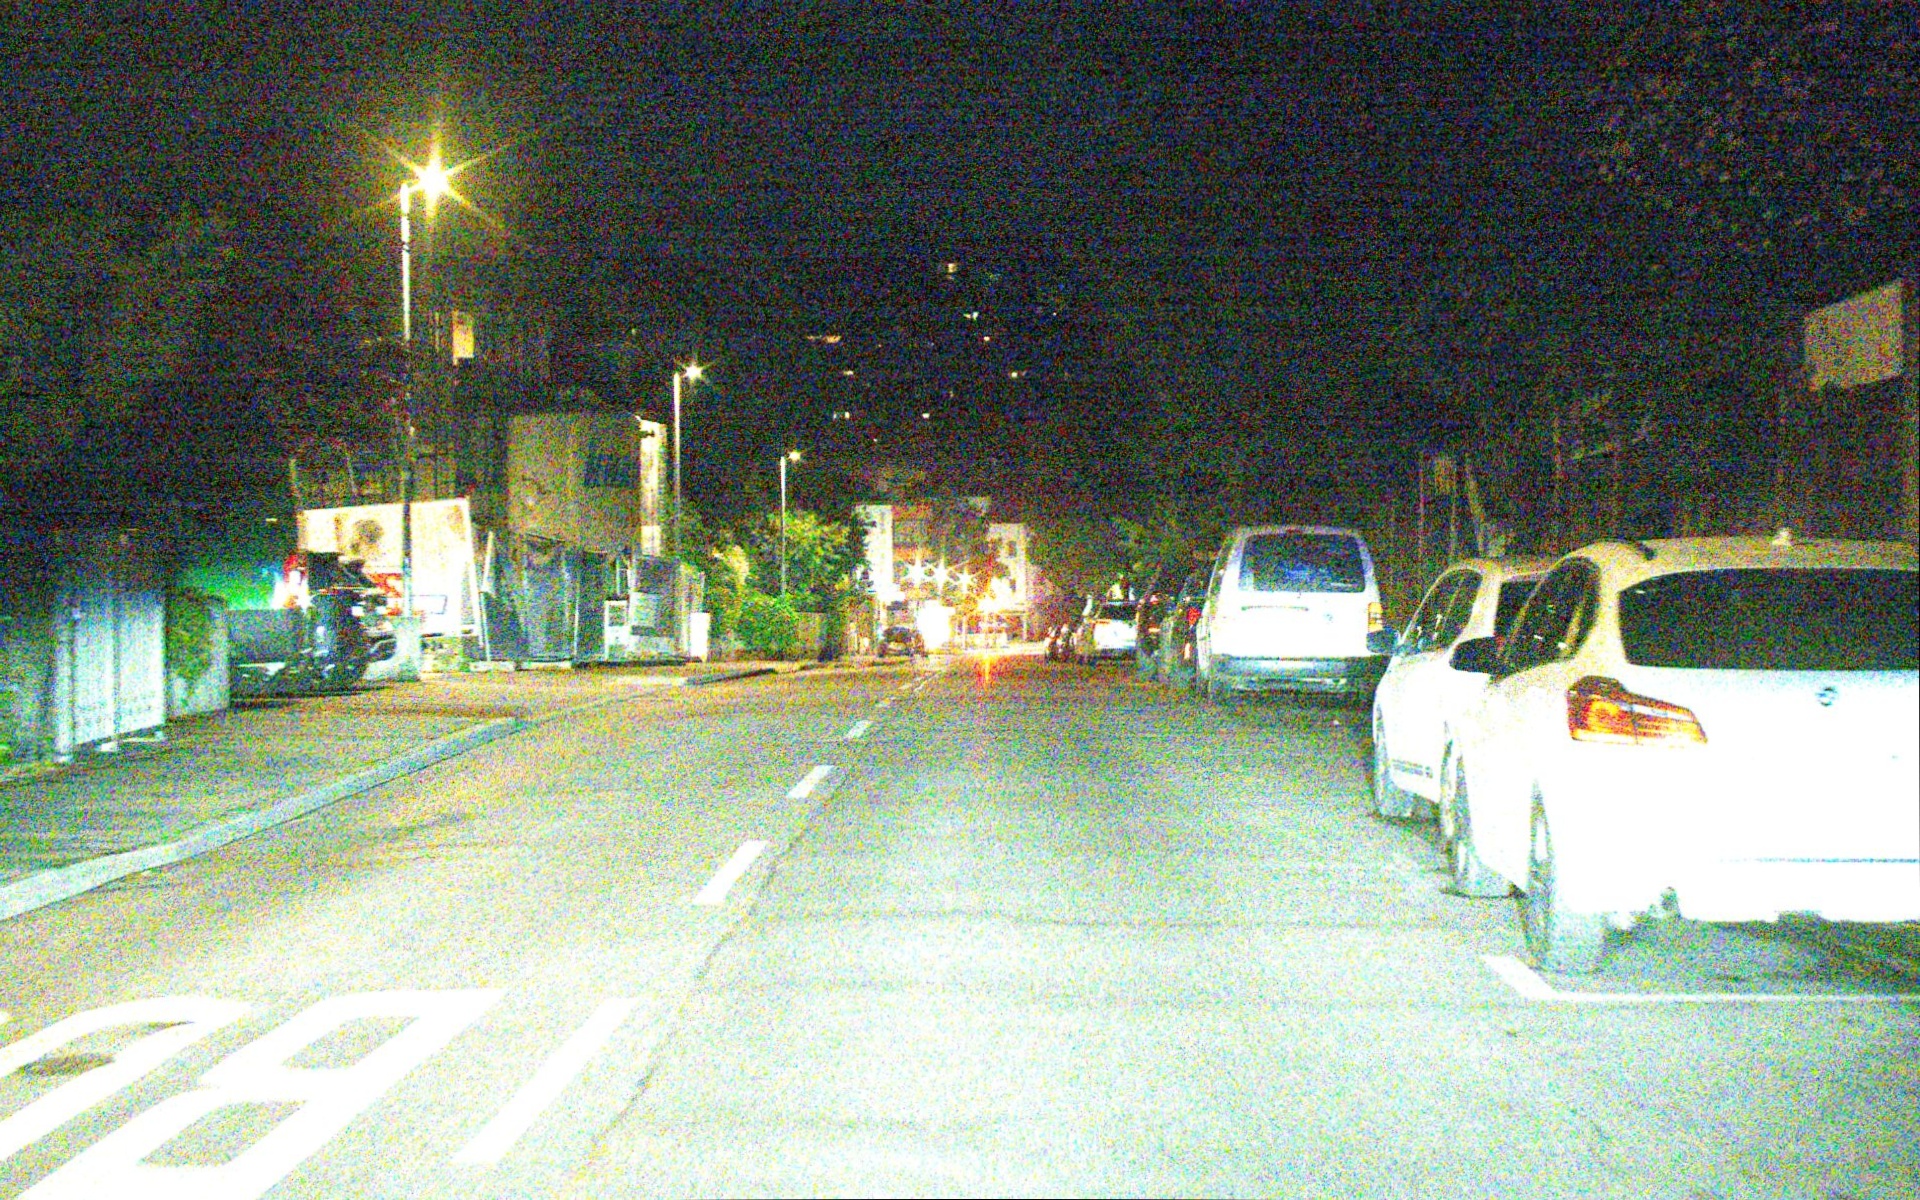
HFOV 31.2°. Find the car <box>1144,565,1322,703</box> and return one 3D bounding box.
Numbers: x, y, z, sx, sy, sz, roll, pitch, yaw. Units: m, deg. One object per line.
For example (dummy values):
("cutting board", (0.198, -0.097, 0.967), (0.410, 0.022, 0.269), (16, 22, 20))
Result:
("car", (3.197, 0.385, 40.962), (1.743, 1.466, 4.256), (3, 0, 0))

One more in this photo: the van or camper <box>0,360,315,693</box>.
("van or camper", (-9.000, -0.705, 33.121), (5.397, 3.100, 2.133), (0, 1, -9))

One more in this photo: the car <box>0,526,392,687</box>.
("car", (-8.504, 0.076, 36.853), (4.417, 1.608, 2.065), (1, -1, 2))

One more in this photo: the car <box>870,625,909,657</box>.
("car", (-3.407, 1.985, 166.158), (1.753, 1.534, 3.731), (1, -1, -3))

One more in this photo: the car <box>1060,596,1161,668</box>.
("car", (3.297, 0.716, 76.124), (1.763, 1.471, 4.276), (3, -1, -3))

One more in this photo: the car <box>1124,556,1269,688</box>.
("car", (3.159, 0.313, 46.589), (1.832, 1.658, 4.618), (1, -1, 3))

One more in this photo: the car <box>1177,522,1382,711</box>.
("car", (3.226, 0.150, 35.468), (1.718, 1.755, 4.758), (2, 0, 1))

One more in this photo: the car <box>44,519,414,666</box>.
("car", (-8.388, -0.102, 39.681), (3.811, 1.550, 1.927), (2, 1, 1))

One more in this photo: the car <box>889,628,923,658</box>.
("car", (-2.863, 2.301, 183.269), (1.753, 1.534, 3.731), (1, -1, 0))

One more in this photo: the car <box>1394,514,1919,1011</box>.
("car", (2.859, 0.511, 13.689), (1.755, 1.588, 4.728), (2, 1, 2))

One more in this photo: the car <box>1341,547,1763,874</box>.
("car", (3.022, 0.499, 18.196), (1.609, 1.456, 3.717), (-1, 2, 1))
